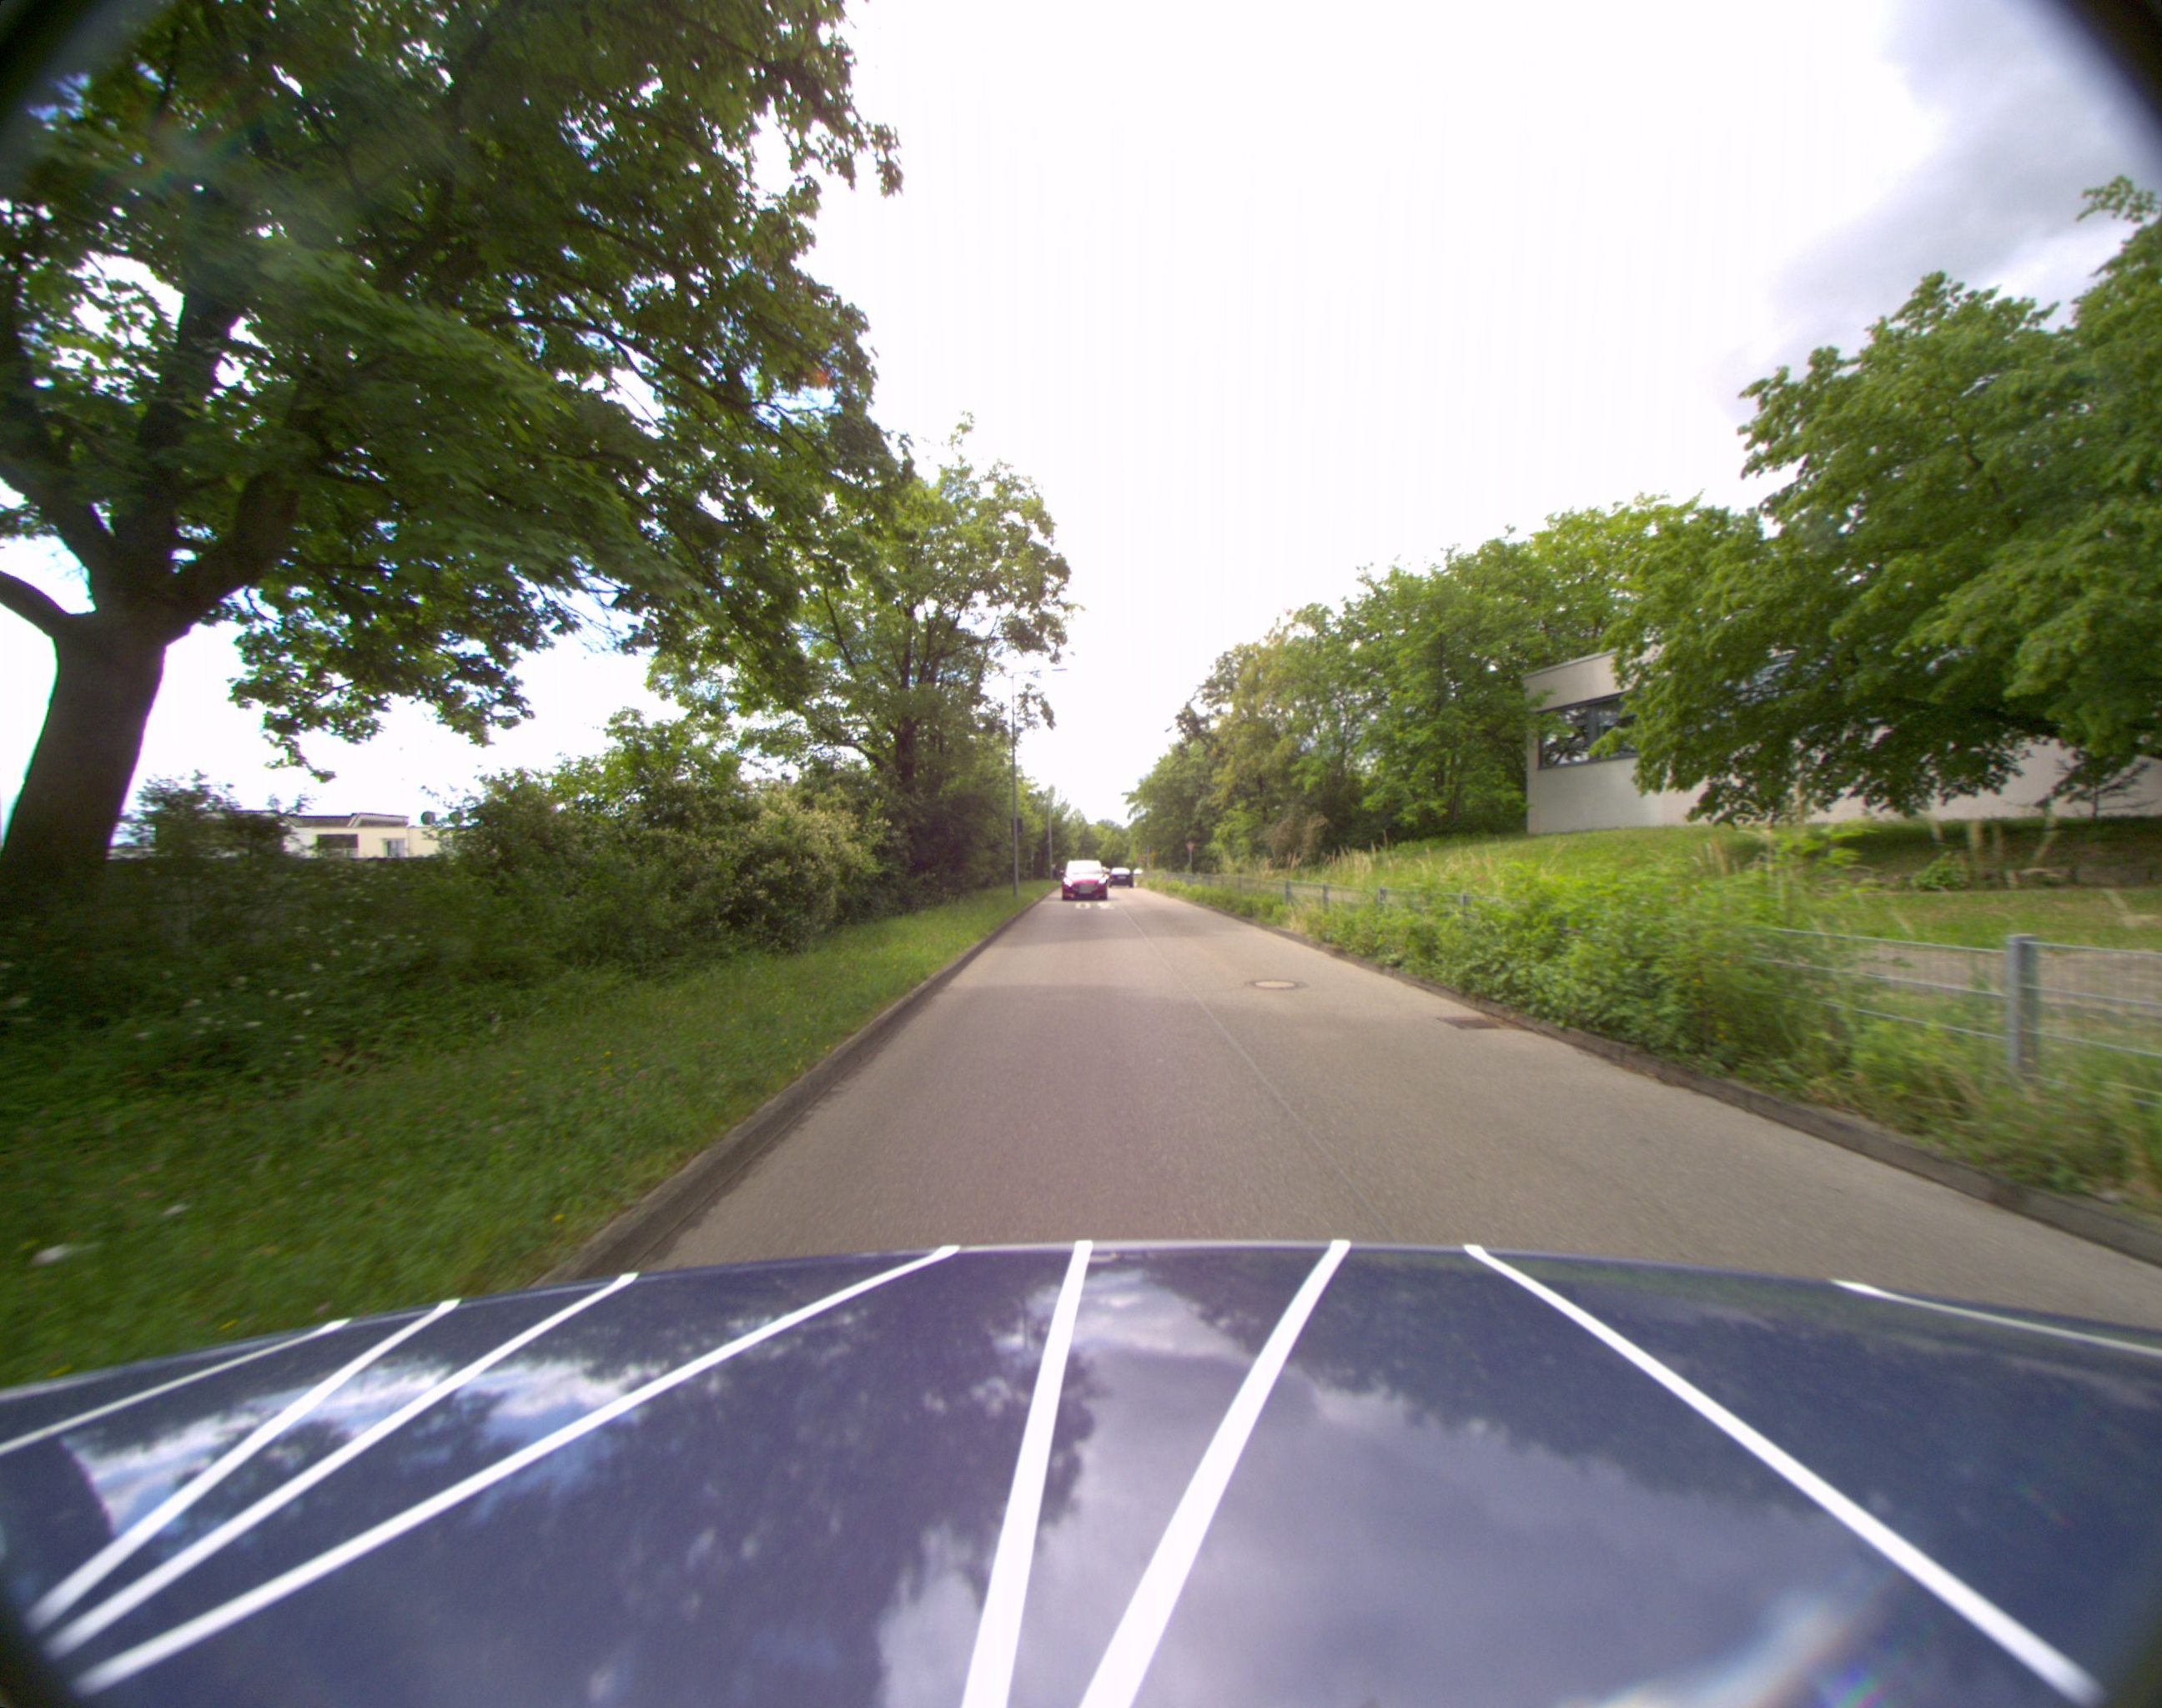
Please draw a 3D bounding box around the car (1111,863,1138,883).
[{"bbox_3d":[2.969,1.284,52.387,1.620,1.324,4.000,-1,0,1],"label":"car"}]

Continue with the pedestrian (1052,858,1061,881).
[{"bbox_3d":[-2.028,1.276,63.017,0.675,1.825,0.606,-1,1,-3],"label":"pedestrian"}]

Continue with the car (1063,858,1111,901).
[{"bbox_3d":[0.255,1.012,32.424,1.861,1.608,4.476,-2,0,0],"label":"car"}]

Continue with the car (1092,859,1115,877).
[{"bbox_3d":[2.191,1.313,73.664,1.998,1.586,4.001,-1,0,4],"label":"car"}]
